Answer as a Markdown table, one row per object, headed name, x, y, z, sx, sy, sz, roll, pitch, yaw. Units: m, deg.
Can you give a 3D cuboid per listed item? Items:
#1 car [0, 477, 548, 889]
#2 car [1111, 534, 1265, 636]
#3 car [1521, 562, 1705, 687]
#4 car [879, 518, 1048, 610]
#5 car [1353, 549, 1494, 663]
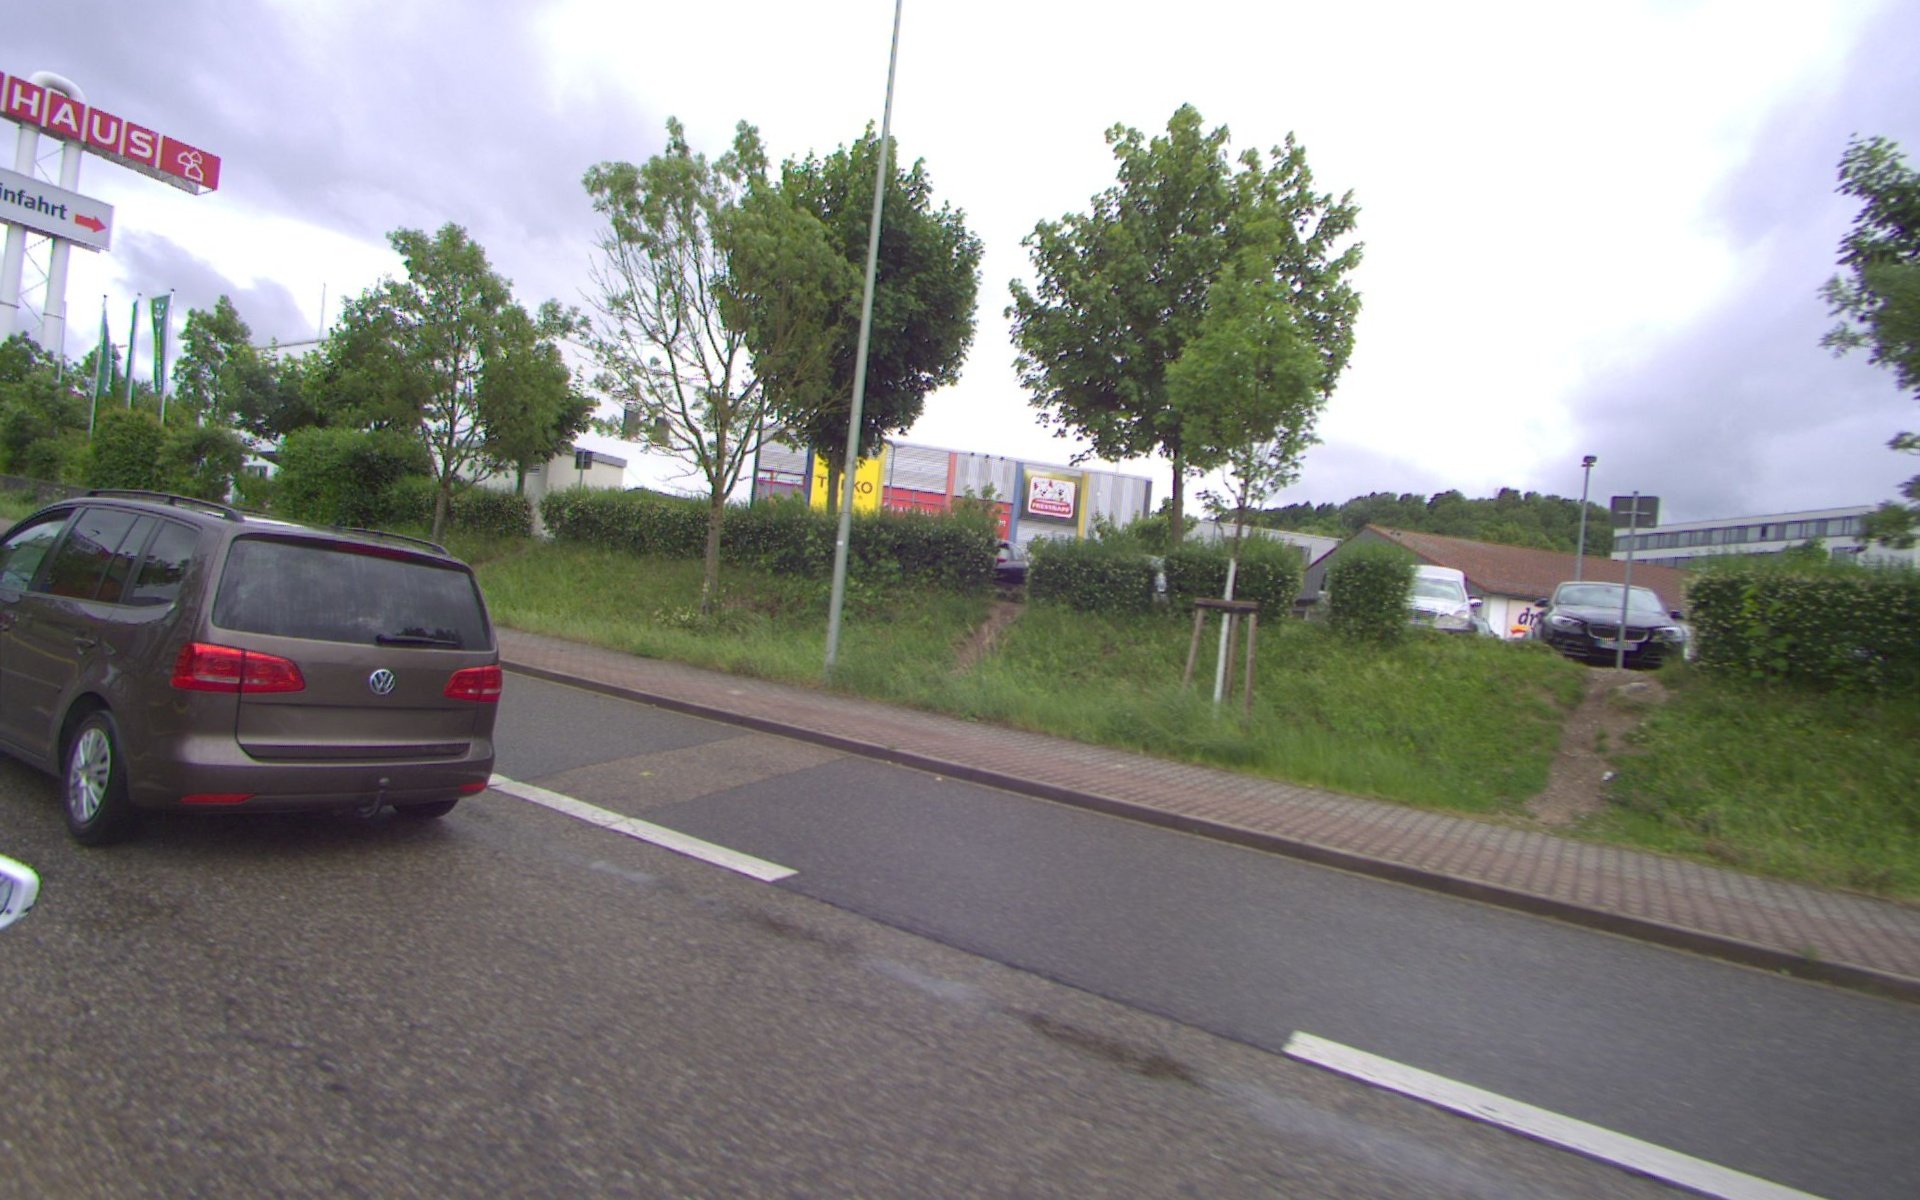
| name | x | y | z | sx | sy | sz | roll | pitch | yaw |
| --- | --- | --- | --- | --- | --- | --- | --- | --- | --- |
| car | -4.557 | 0.252 | 5.888 | 4.148 | 1.599 | 1.689 | 7 | -2 | 31 |
| car | 4.622 | -0.243 | 19.917 | 1.894 | 1.650 | 4.353 | 6 | 2 | 26 |
| car | 10.693 | 0.382 | 16.817 | 1.894 | 1.650 | 4.353 | 6 | 2 | 26 |
| car | 0.210 | -0.711 | 22.086 | 1.894 | 1.650 | 4.353 | 6 | 2 | 26 |
| car | 8.333 | 0.115 | 18.061 | 1.894 | 1.650 | 4.353 | 6 | 2 | 26 |
